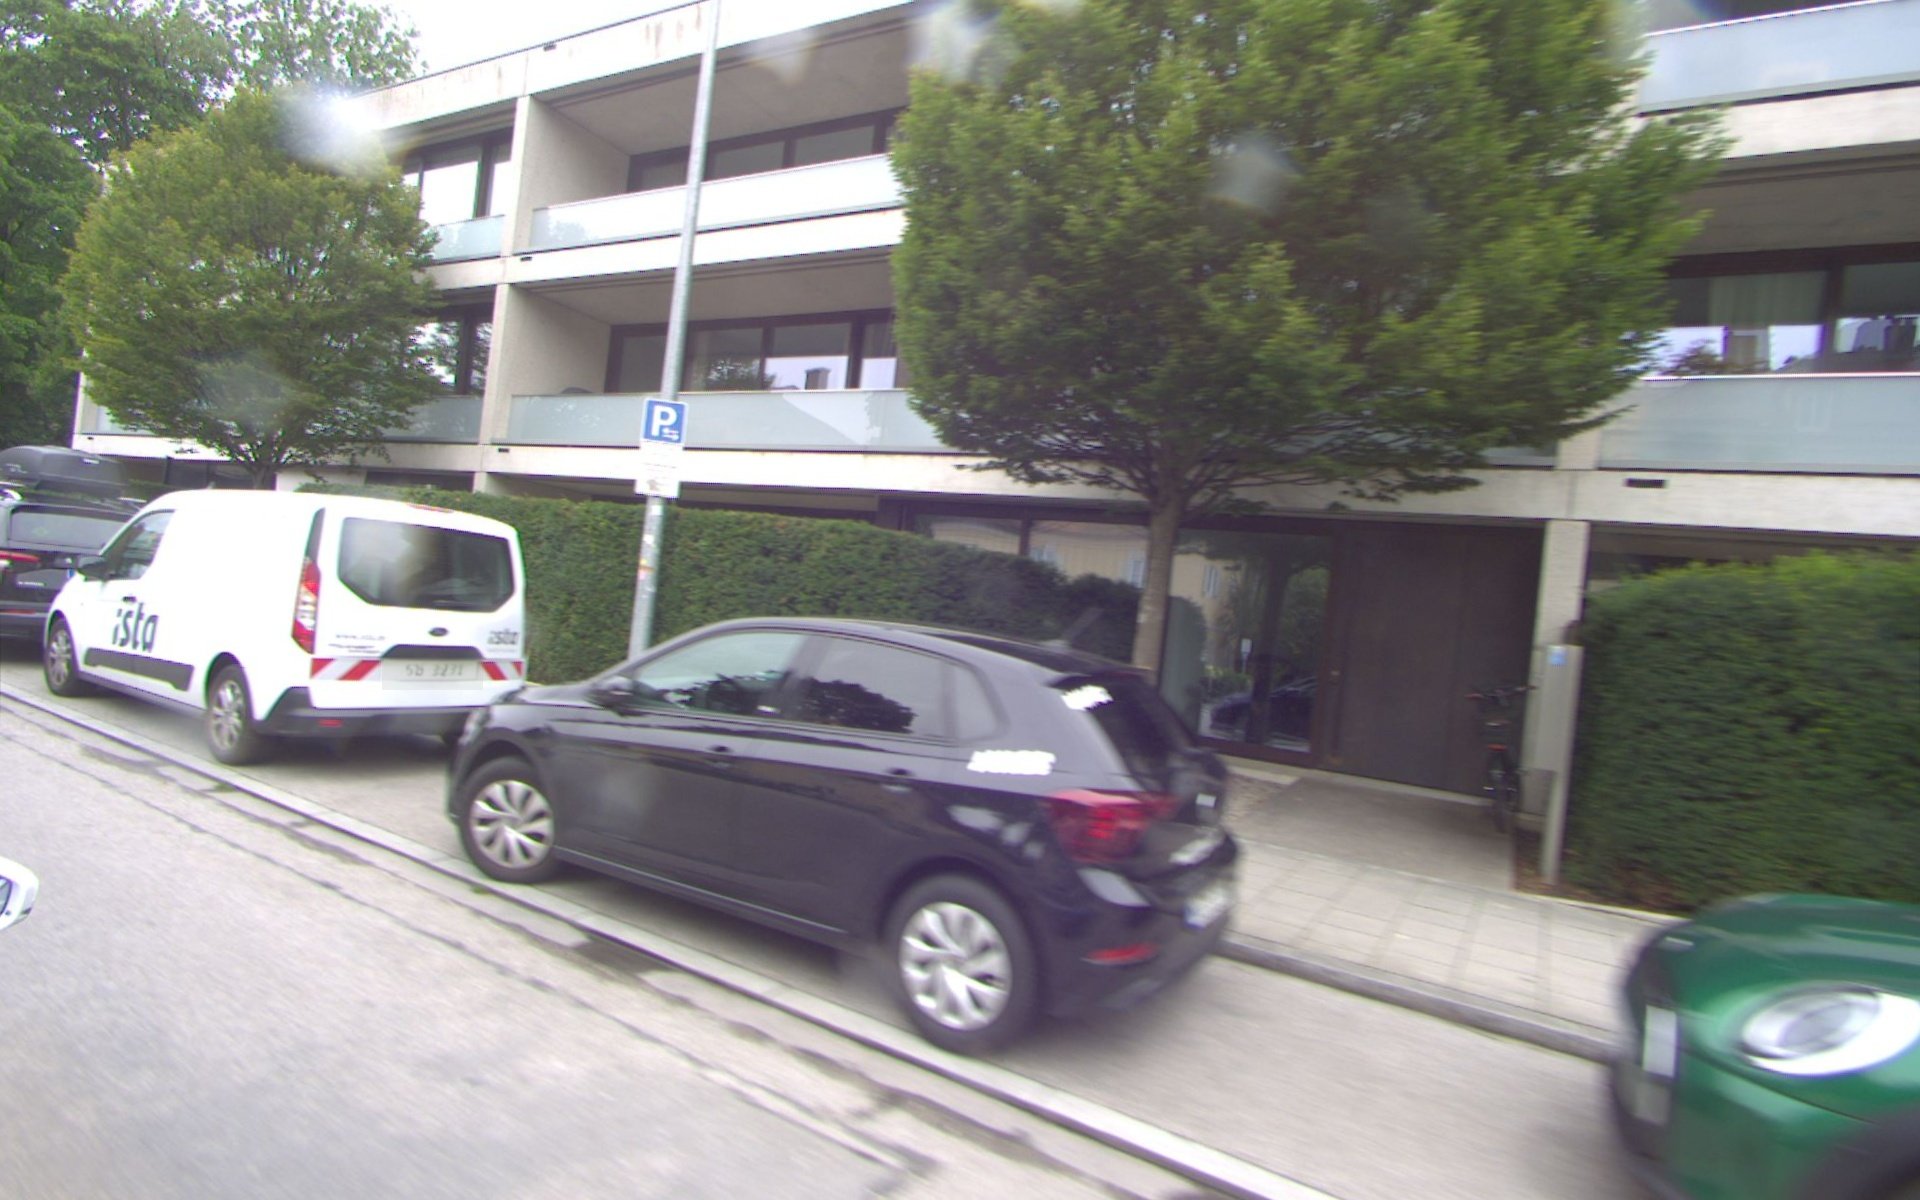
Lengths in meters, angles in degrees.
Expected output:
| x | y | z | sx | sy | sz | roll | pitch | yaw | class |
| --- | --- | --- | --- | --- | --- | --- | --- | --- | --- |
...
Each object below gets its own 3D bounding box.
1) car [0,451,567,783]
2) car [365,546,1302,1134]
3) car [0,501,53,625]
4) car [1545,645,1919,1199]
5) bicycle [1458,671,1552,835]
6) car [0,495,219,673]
| x | y | z | sx | sy | sz | roll | pitch | yaw | class |
| --- | --- | --- | --- | --- | --- | --- | --- | --- | --- |
| -5.549 | 0.003 | 8.011 | 4.817 | 1.882 | 1.826 | 7 | -2 | 32 | car |
| -0.757 | 0.728 | 4.849 | 4.171 | 1.482 | 1.750 | 7 | 0 | 30 | car |
| -13.715 | -0.691 | 13.031 | 3.822 | 1.498 | 1.751 | 7 | -1 | 30 | car |
| 3.762 | 1.137 | 2.202 | 4.133 | 1.549 | 1.728 | 7 | 1 | 30 | car |
| 4.833 | 1.296 | 9.009 | 0.545 | 1.234 | 1.788 | 7 | 1 | 26 | bicycle |
| -9.930 | -0.323 | 10.544 | 4.520 | 1.498 | 1.751 | 7 | -1 | 31 | car |
